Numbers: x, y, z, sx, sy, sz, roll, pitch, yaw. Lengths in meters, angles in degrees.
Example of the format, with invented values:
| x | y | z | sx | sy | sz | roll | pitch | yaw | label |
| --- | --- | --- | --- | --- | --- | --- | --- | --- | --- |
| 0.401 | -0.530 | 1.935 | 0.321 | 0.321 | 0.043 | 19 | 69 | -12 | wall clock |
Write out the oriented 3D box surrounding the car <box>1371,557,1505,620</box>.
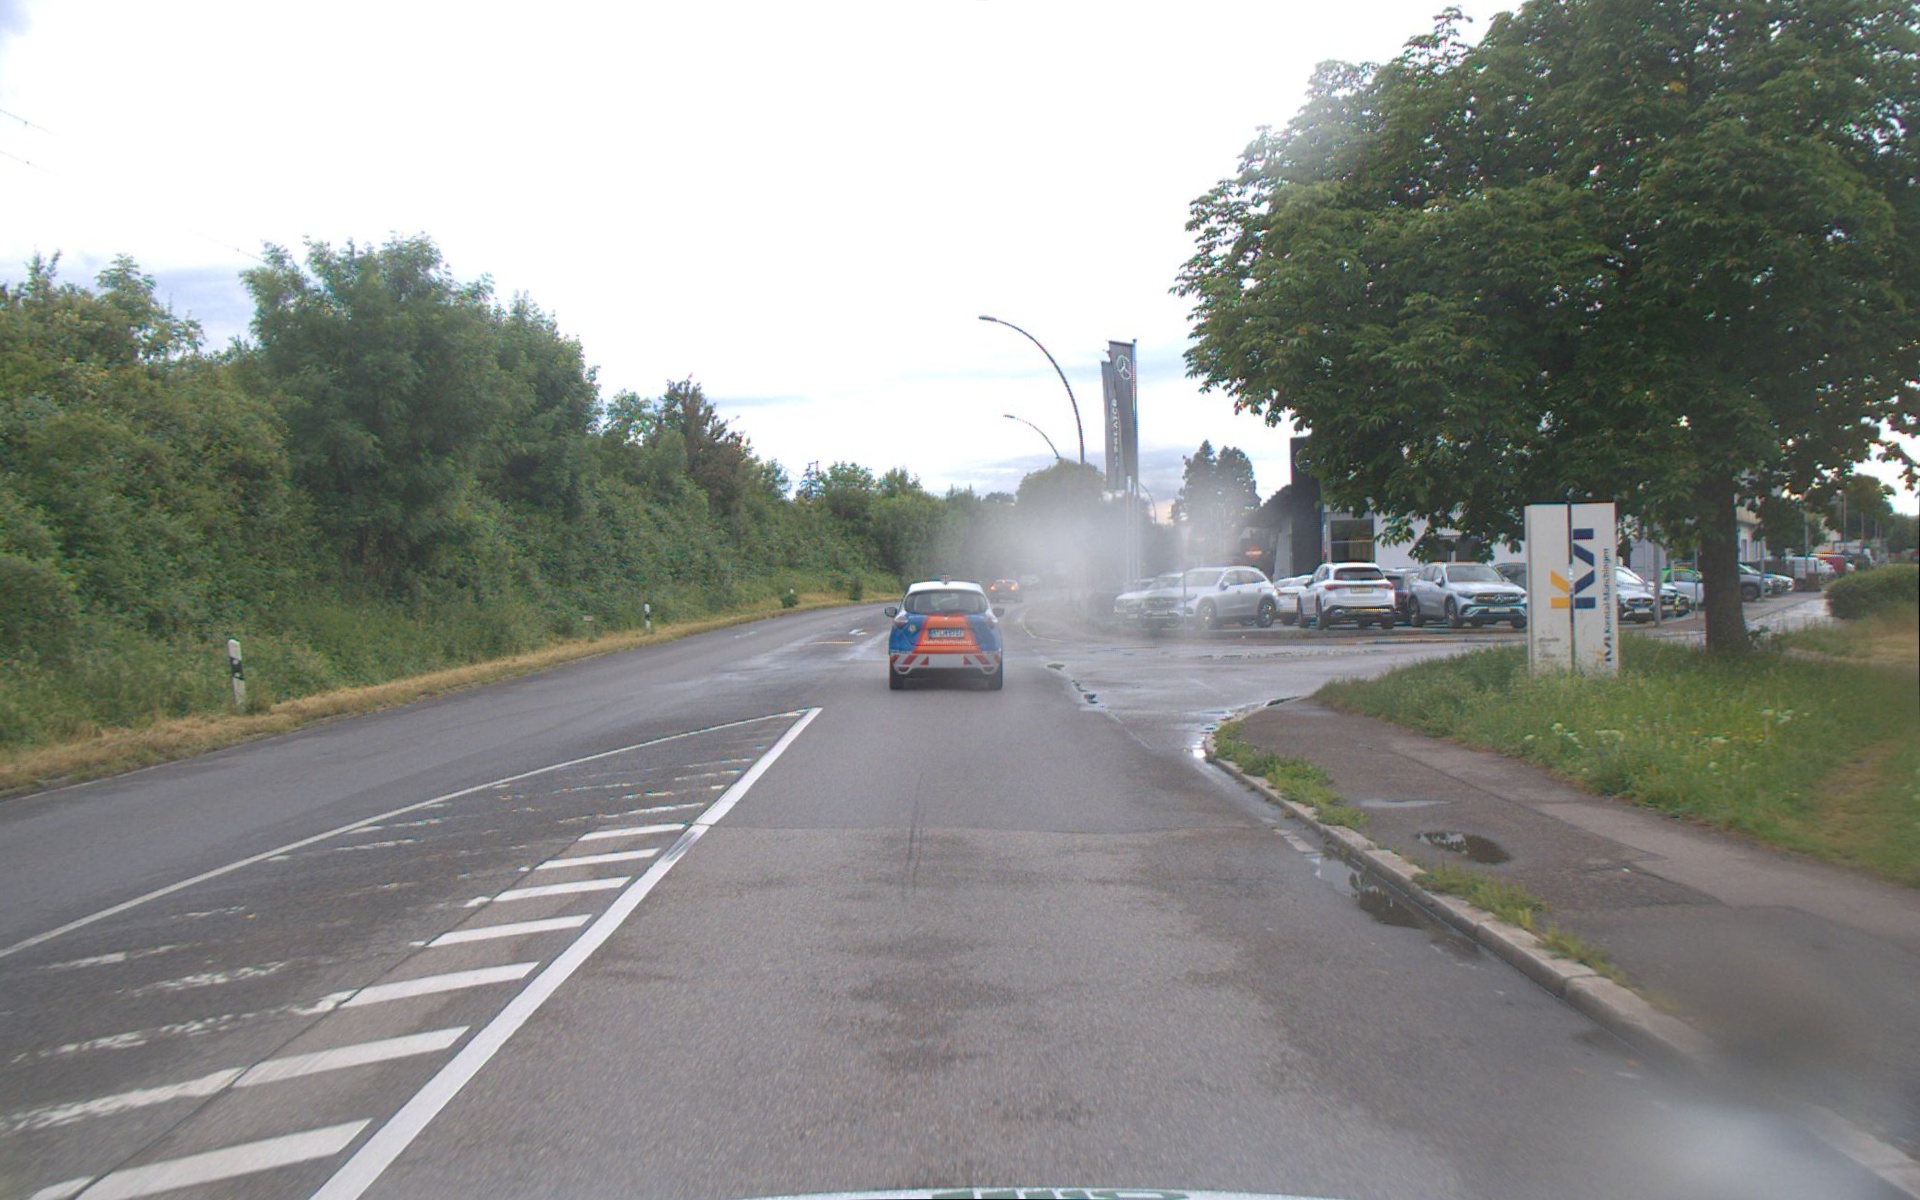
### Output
| x | y | z | sx | sy | sz | roll | pitch | yaw | label |
| --- | --- | --- | --- | --- | --- | --- | --- | --- | --- |
| 14.251 | -0.338 | 49.137 | 1.899 | 1.781 | 4.586 | 1 | 1 | 44 | car |

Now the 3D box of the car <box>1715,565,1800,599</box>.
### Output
| x | y | z | sx | sy | sz | roll | pitch | yaw | label |
| --- | --- | --- | --- | --- | --- | --- | --- | --- | --- |
| 37.907 | -0.835 | 78.704 | 3.582 | 1.522 | 1.654 | 1 | 0 | 26 | car |

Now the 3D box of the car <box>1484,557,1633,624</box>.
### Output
| x | y | z | sx | sy | sz | roll | pitch | yaw | label |
| --- | --- | --- | --- | --- | --- | --- | --- | --- | --- |
| 15.701 | -0.228 | 43.658 | 1.620 | 1.630 | 4.608 | 1 | 0 | -9 | car |

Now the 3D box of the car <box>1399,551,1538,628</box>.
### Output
| x | y | z | sx | sy | sz | roll | pitch | yaw | label |
| --- | --- | --- | --- | --- | --- | --- | --- | --- | --- |
| 12.810 | -0.247 | 41.982 | 1.897 | 1.782 | 4.616 | 1 | 0 | -3 | car |

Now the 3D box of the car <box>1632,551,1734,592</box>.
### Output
| x | y | z | sx | sy | sz | roll | pitch | yaw | label |
| --- | --- | --- | --- | --- | --- | --- | --- | --- | --- |
| 28.315 | -1.118 | 64.785 | 3.582 | 1.522 | 1.654 | 1 | 0 | 26 | car |

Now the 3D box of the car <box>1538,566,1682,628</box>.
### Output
| x | y | z | sx | sy | sz | roll | pitch | yaw | label |
| --- | --- | --- | --- | --- | --- | --- | --- | --- | --- |
| 18.256 | -0.090 | 46.695 | 1.620 | 1.630 | 4.608 | 1 | 0 | -9 | car |

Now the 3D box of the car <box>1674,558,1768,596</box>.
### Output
| x | y | z | sx | sy | sz | roll | pitch | yaw | label |
| --- | --- | --- | --- | --- | --- | --- | --- | --- | --- |
| 32.478 | -0.996 | 70.594 | 3.582 | 1.522 | 1.654 | 1 | 0 | 26 | car |

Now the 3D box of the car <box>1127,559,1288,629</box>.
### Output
| x | y | z | sx | sy | sz | roll | pitch | yaw | label |
| --- | --- | --- | --- | --- | --- | --- | --- | --- | --- |
| 6.747 | -0.139 | 44.788 | 2.001 | 1.782 | 4.585 | 1 | 0 | 44 | car |

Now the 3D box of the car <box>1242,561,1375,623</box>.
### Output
| x | y | z | sx | sy | sz | roll | pitch | yaw | label |
| --- | --- | --- | --- | --- | --- | --- | --- | --- | --- |
| 10.443 | -0.261 | 49.351 | 1.897 | 1.781 | 4.592 | 1 | 1 | 41 | car |

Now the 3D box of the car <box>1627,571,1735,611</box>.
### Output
| x | y | z | sx | sy | sz | roll | pitch | yaw | label |
| --- | --- | --- | --- | --- | --- | --- | --- | --- | --- |
| 26.757 | -0.337 | 61.388 | 3.584 | 1.400 | 1.653 | 1 | 0 | 28 | car |

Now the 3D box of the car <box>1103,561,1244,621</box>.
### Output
| x | y | z | sx | sy | sz | roll | pitch | yaw | label |
| --- | --- | --- | --- | --- | --- | --- | --- | --- | --- |
| 6.820 | -0.245 | 52.532 | 4.571 | 1.782 | 1.783 | 1 | -2 | -38 | car |

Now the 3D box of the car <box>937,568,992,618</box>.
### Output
| x | y | z | sx | sy | sz | roll | pitch | yaw | label |
| --- | --- | --- | --- | --- | --- | --- | --- | --- | --- |
| 0.186 | -0.231 | 57.420 | 1.658 | 1.623 | 3.857 | 1 | 0 | 3 | car |

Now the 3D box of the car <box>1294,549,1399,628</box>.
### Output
| x | y | z | sx | sy | sz | roll | pitch | yaw | label |
| --- | --- | --- | --- | --- | --- | --- | --- | --- | --- |
| 9.789 | -0.269 | 42.192 | 1.788 | 1.861 | 4.265 | 1 | 0 | 2 | car |

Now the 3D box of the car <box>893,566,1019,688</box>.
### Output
| x | y | z | sx | sy | sz | roll | pitch | yaw | label |
| --- | --- | --- | --- | --- | --- | --- | --- | --- | --- |
| -0.083 | 0.391 | 25.530 | 1.769 | 1.697 | 3.855 | 1 | 0 | -1 | car |

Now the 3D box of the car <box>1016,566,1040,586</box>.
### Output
| x | y | z | sx | sy | sz | roll | pitch | yaw | label |
| --- | --- | --- | --- | --- | --- | --- | --- | --- | --- |
| 6.557 | -2.264 | 158.365 | 1.658 | 1.822 | 3.859 | 1 | 0 | 12 | car |

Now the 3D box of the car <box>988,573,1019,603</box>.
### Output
| x | y | z | sx | sy | sz | roll | pitch | yaw | label |
| --- | --- | --- | --- | --- | --- | --- | --- | --- | --- |
| 2.724 | -0.741 | 103.074 | 1.658 | 1.822 | 3.858 | 1 | 0 | 6 | car |

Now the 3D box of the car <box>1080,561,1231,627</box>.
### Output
| x | y | z | sx | sy | sz | roll | pitch | yaw | label |
| --- | --- | --- | --- | --- | --- | --- | --- | --- | --- |
| 5.693 | -0.126 | 47.842 | 2.001 | 1.782 | 4.585 | -1 | -2 | 44 | car |

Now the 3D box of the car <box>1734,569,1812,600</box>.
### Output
| x | y | z | sx | sy | sz | roll | pitch | yaw | label |
| --- | --- | --- | --- | --- | --- | --- | --- | --- | --- |
| 42.098 | -0.784 | 85.749 | 3.582 | 1.522 | 1.654 | 1 | 0 | 26 | car |
